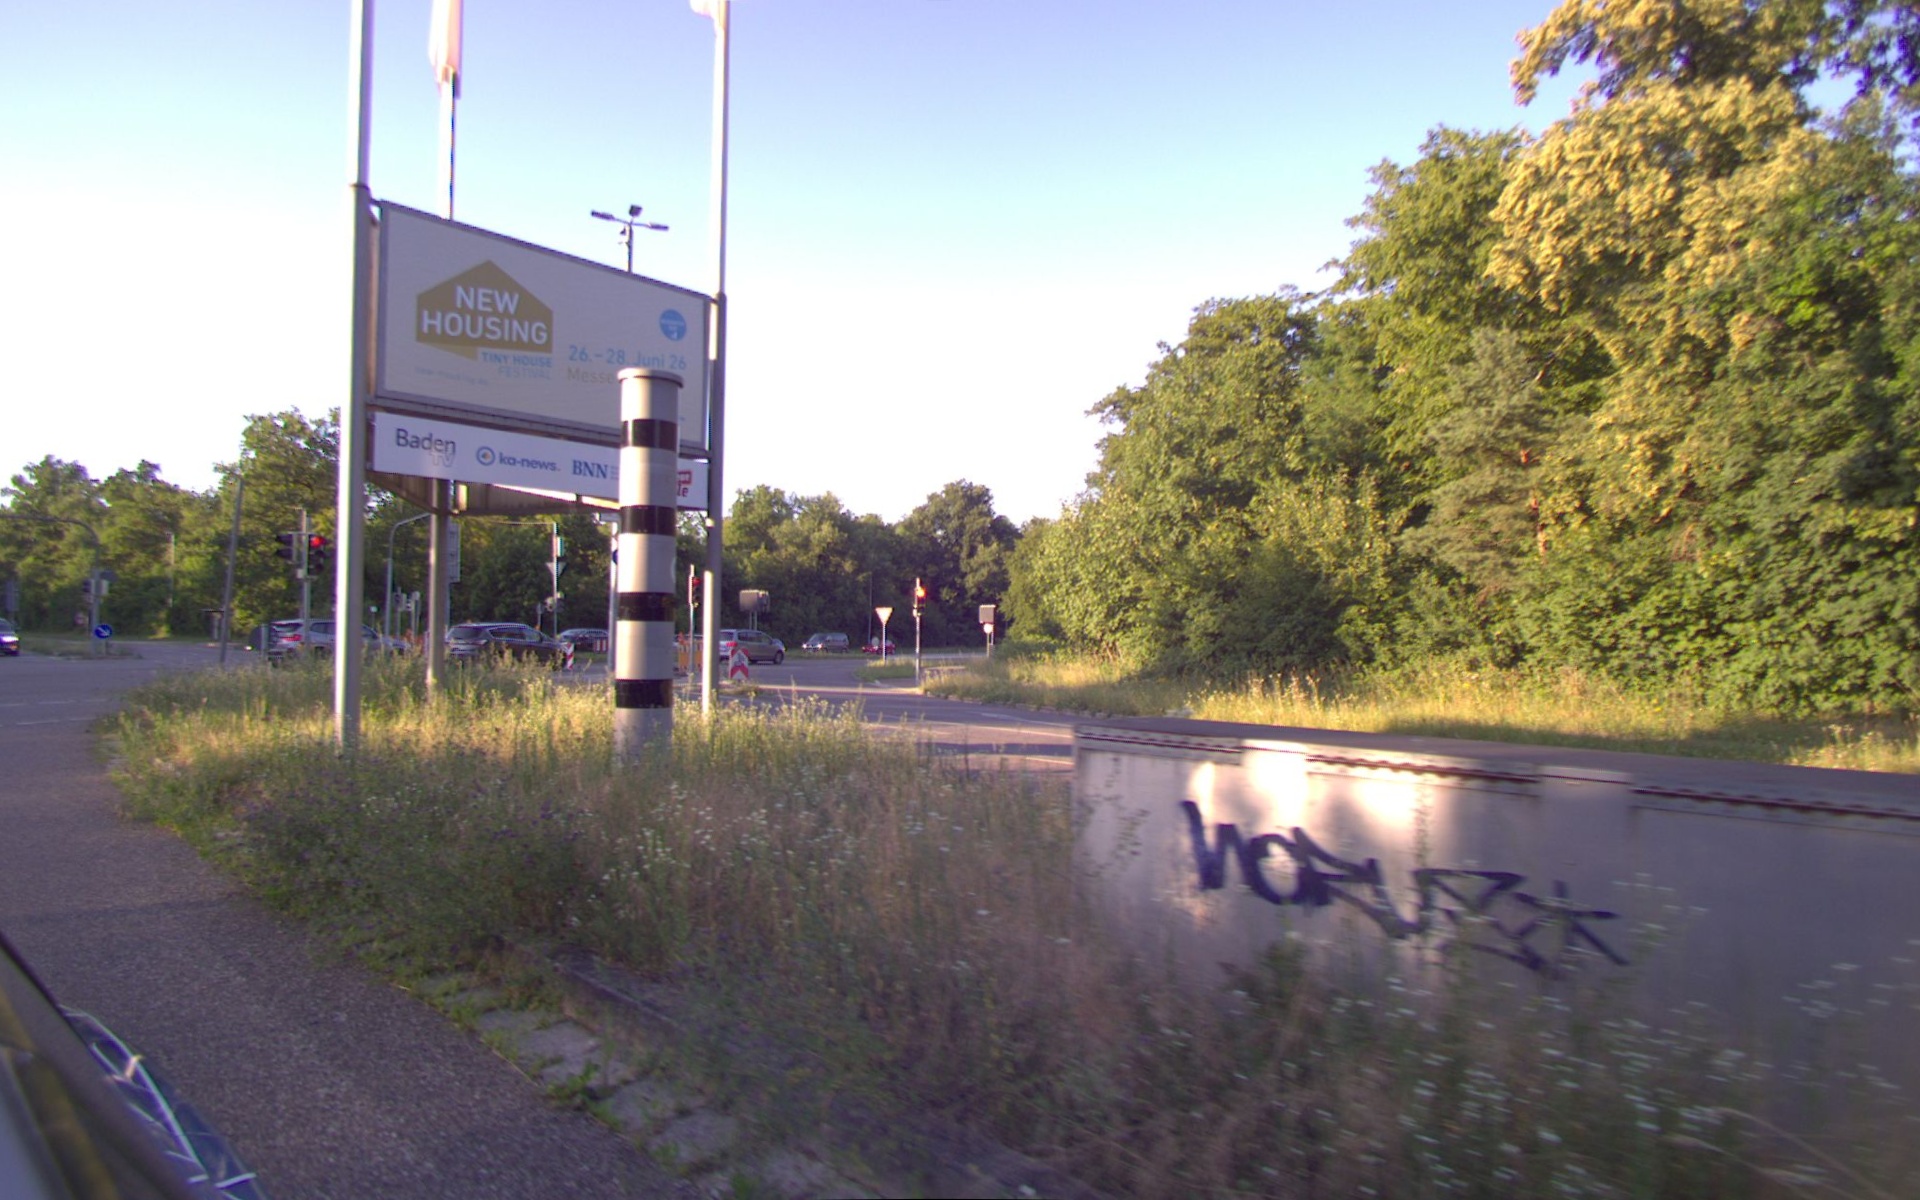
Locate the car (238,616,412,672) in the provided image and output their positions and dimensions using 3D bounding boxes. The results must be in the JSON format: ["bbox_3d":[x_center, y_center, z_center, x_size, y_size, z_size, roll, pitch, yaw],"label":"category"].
[{"bbox_3d":[-20.105,1.375,32.273,1.986,1.636,4.365,0,-2,21],"label":"car"}]

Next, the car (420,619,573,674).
[{"bbox_3d":[-15.819,1.634,34.857,1.997,1.674,4.791,2,-3,19],"label":"car"}]

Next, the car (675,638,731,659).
[{"bbox_3d":[-18.796,3.565,74.278,1.712,1.467,4.197,0,-2,25],"label":"car"}]

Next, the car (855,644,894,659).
[{"bbox_3d":[-8.132,4.912,96.793,1.873,1.432,4.198,0,-2,24],"label":"car"}]

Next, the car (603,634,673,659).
[{"bbox_3d":[-19.837,2.858,62.492,1.712,1.467,4.197,0,-2,25],"label":"car"}]

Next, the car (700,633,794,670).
[{"bbox_3d":[-10.716,2.581,51.204,1.869,1.738,4.602,0,-2,36],"label":"car"}]

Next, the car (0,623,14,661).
[{"bbox_3d":[-40.920,1.736,42.071,3.999,1.531,1.975,-1,-2,42],"label":"car"}]

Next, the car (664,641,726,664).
[{"bbox_3d":[-17.562,3.473,67.205,1.712,1.467,4.197,0,-2,25],"label":"car"}]
